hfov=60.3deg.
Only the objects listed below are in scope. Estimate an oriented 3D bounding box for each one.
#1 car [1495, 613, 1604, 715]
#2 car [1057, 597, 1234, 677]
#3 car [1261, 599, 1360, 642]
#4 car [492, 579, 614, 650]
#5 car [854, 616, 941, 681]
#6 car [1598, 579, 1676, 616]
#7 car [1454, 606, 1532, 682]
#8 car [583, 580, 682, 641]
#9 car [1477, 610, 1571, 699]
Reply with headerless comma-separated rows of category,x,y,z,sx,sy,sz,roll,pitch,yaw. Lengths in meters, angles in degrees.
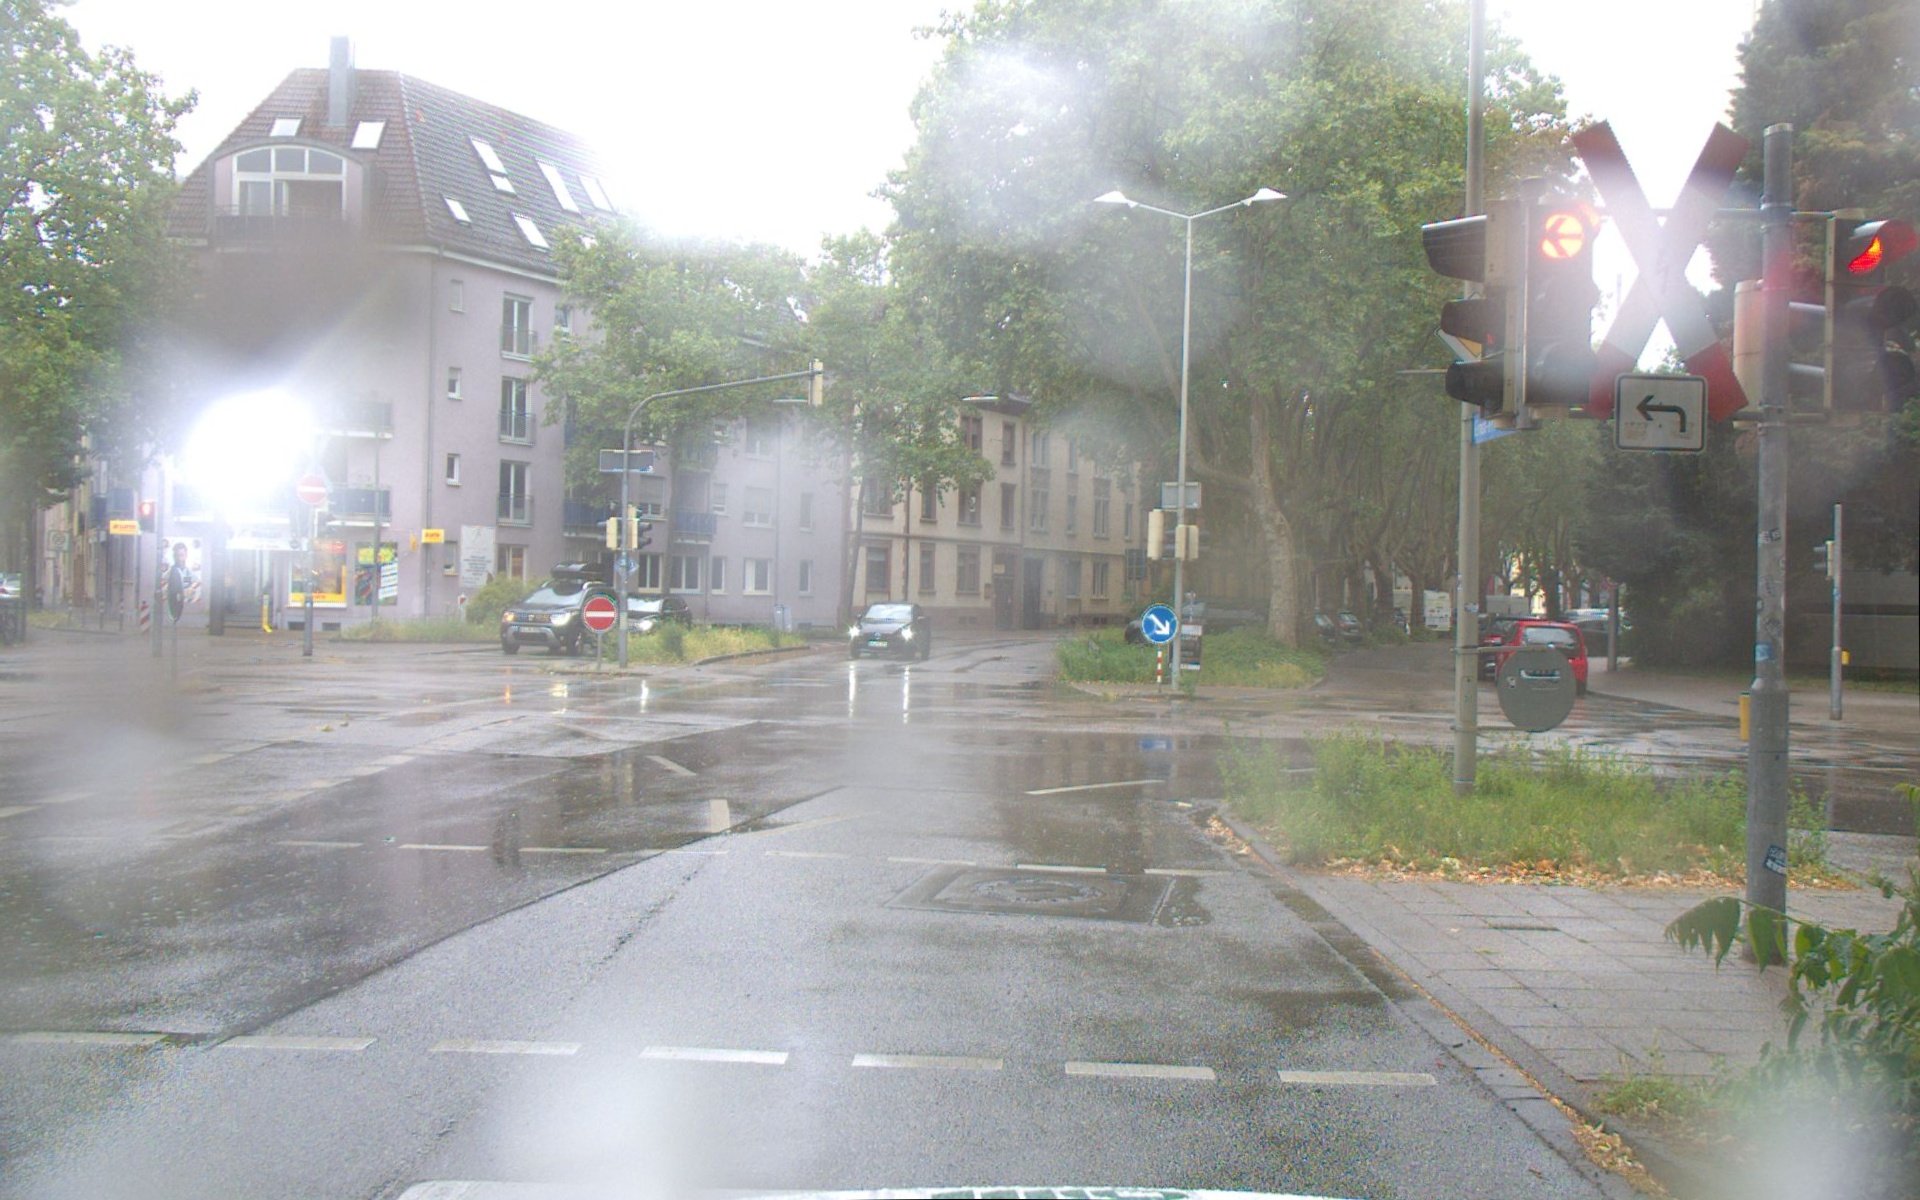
car,12.952,1.350,36.548,1.951,2.049,4.003,0,0,15
car,3.710,0.727,33.013,3.405,1.550,1.521,0,0,8
car,13.872,0.812,65.506,3.537,1.646,1.679,0,0,28
car,-9.445,0.305,38.631,1.688,1.579,3.562,0,0,5
car,-1.619,1.257,43.961,1.568,1.579,3.563,0,0,10
car,37.866,-0.147,92.564,3.903,2.049,1.708,0,0,19
car,15.406,1.220,47.968,1.951,2.049,4.003,0,0,15
car,-8.797,0.255,44.674,1.688,1.579,3.562,0,0,5
car,14.046,1.305,41.350,1.951,2.049,4.003,0,0,15
